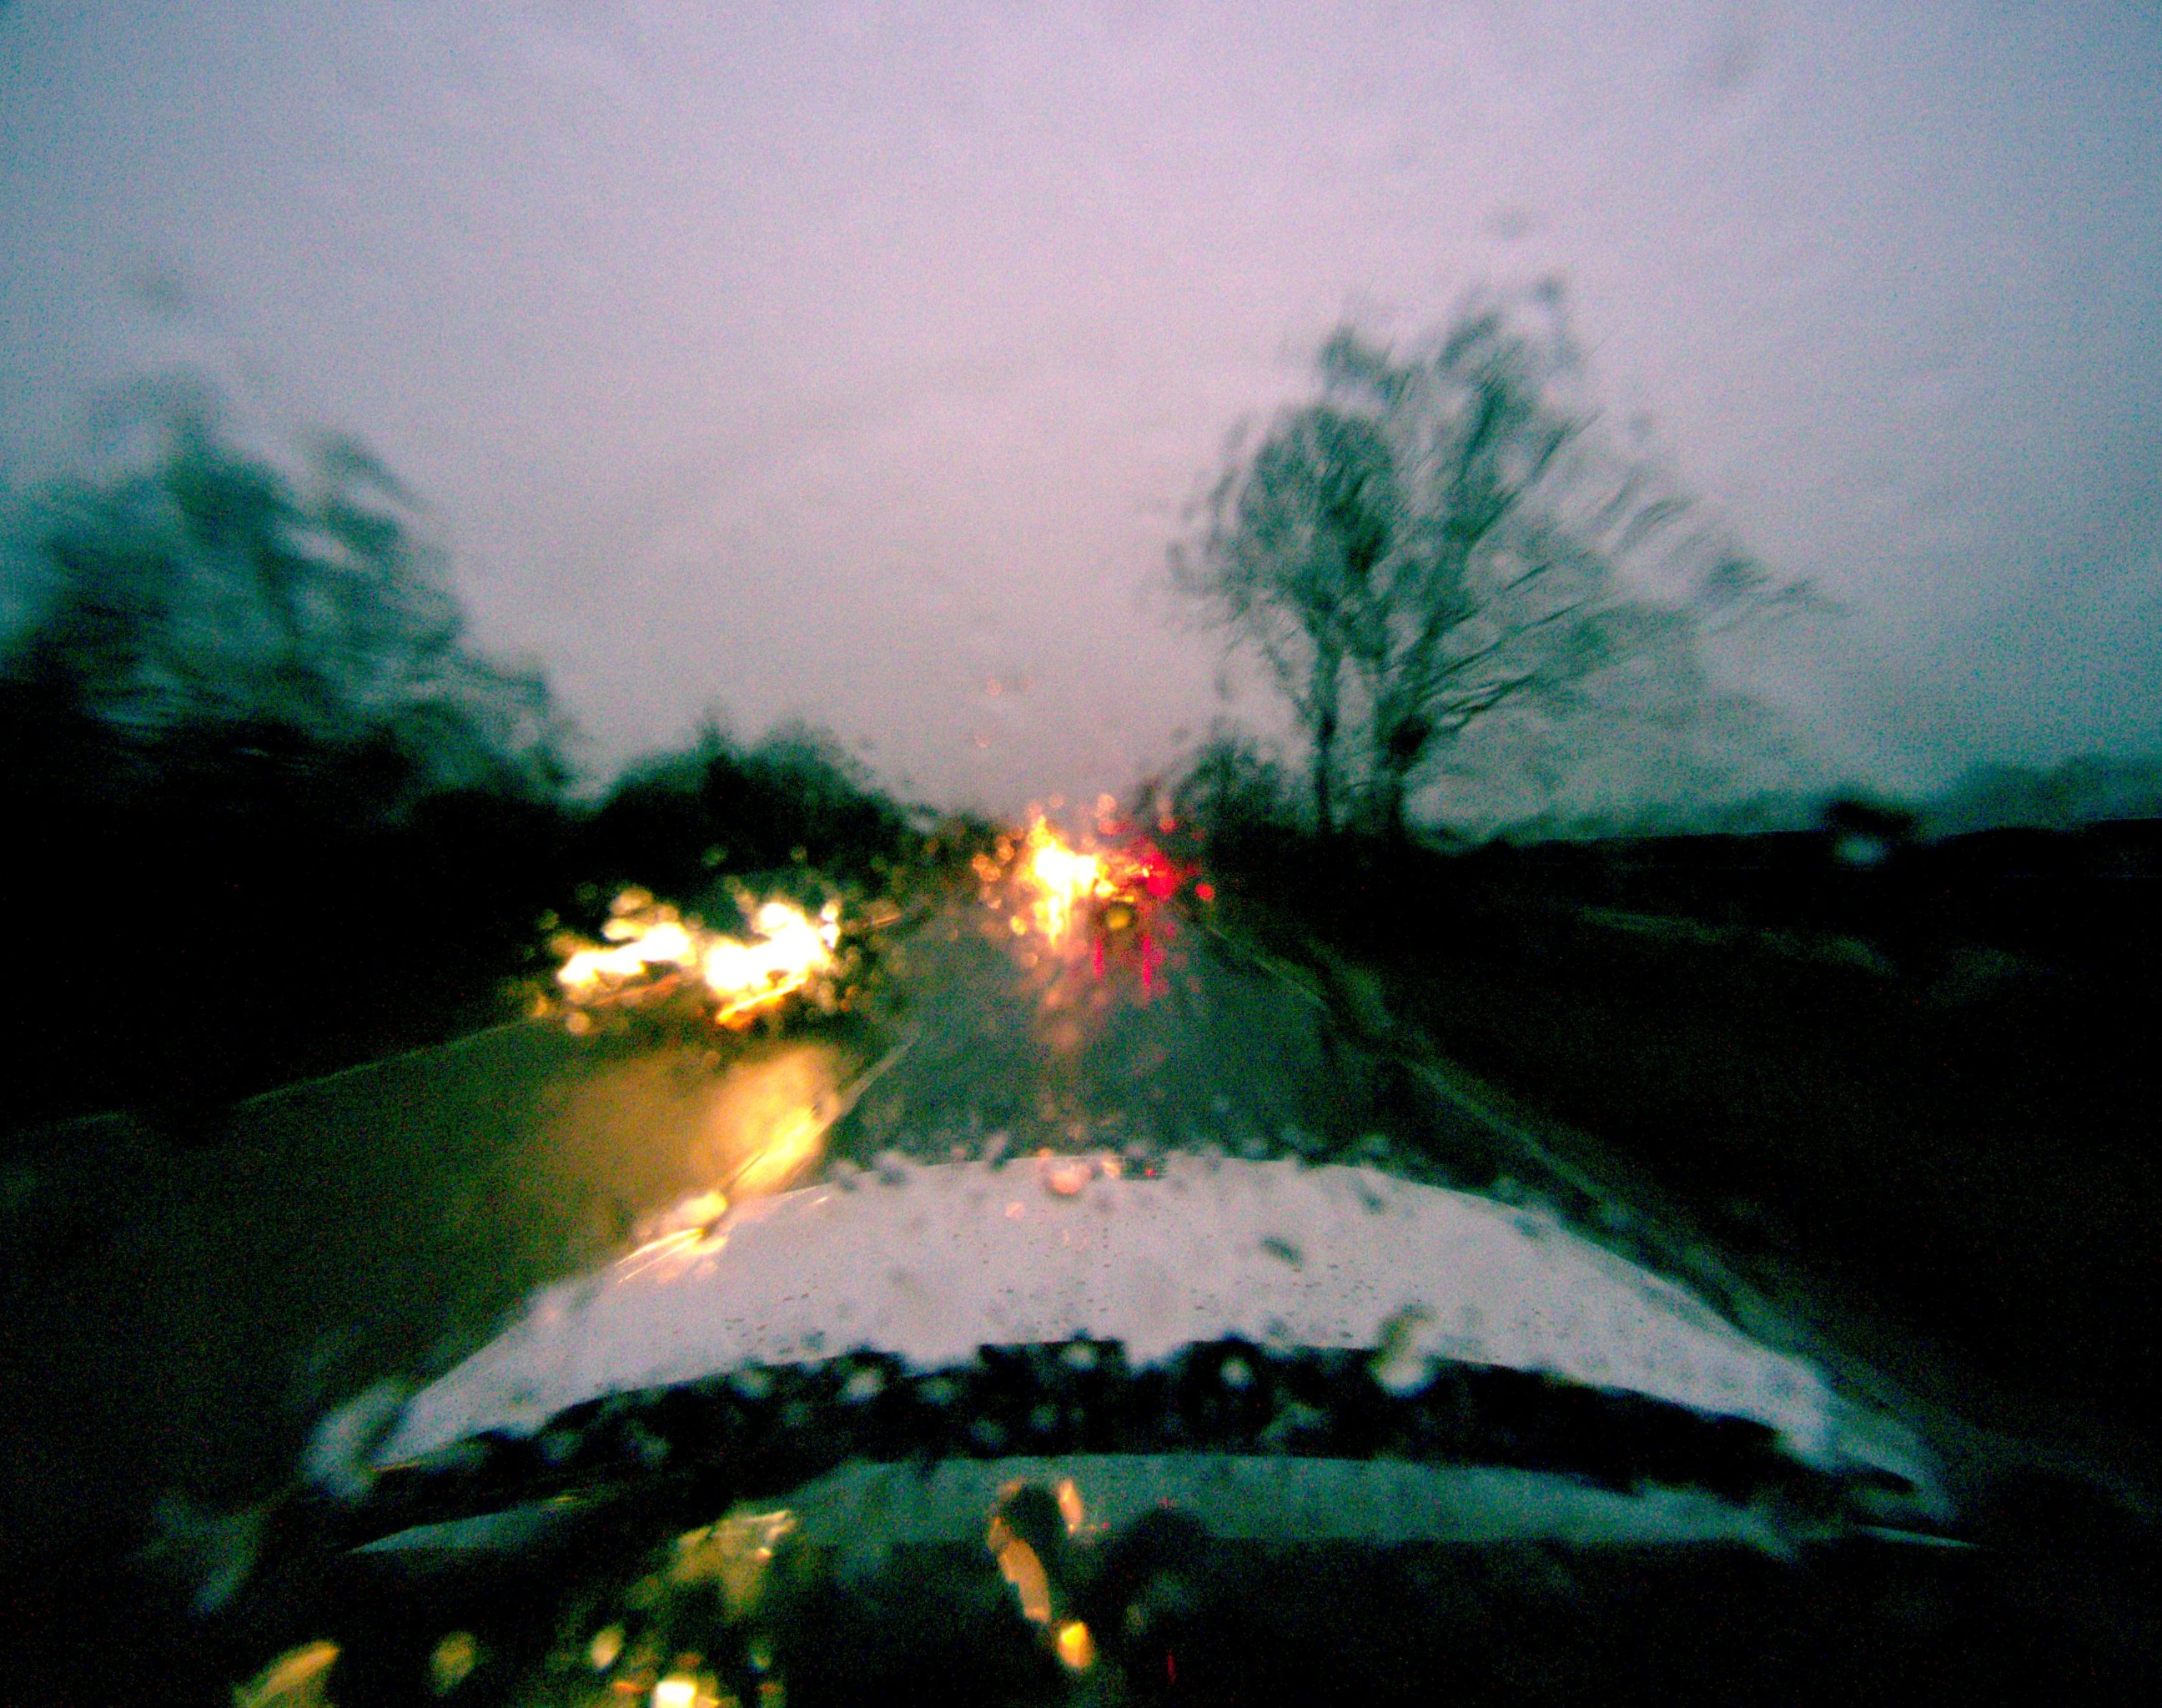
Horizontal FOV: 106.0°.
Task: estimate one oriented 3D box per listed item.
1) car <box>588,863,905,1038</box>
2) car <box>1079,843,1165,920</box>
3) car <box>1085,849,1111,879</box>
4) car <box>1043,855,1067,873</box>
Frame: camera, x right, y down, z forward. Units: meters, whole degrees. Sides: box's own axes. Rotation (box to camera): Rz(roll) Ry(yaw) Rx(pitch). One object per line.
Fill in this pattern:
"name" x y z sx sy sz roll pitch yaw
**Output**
"car" -3.208 0.835 8.619 1.810 1.441 3.457 0 0 2
"car" 1.061 0.643 20.878 1.985 1.784 4.003 0 0 3
"car" 1.134 0.619 52.857 1.568 1.875 3.712 0 0 3
"car" -2.186 0.799 69.773 1.744 1.474 3.892 -1 0 2
